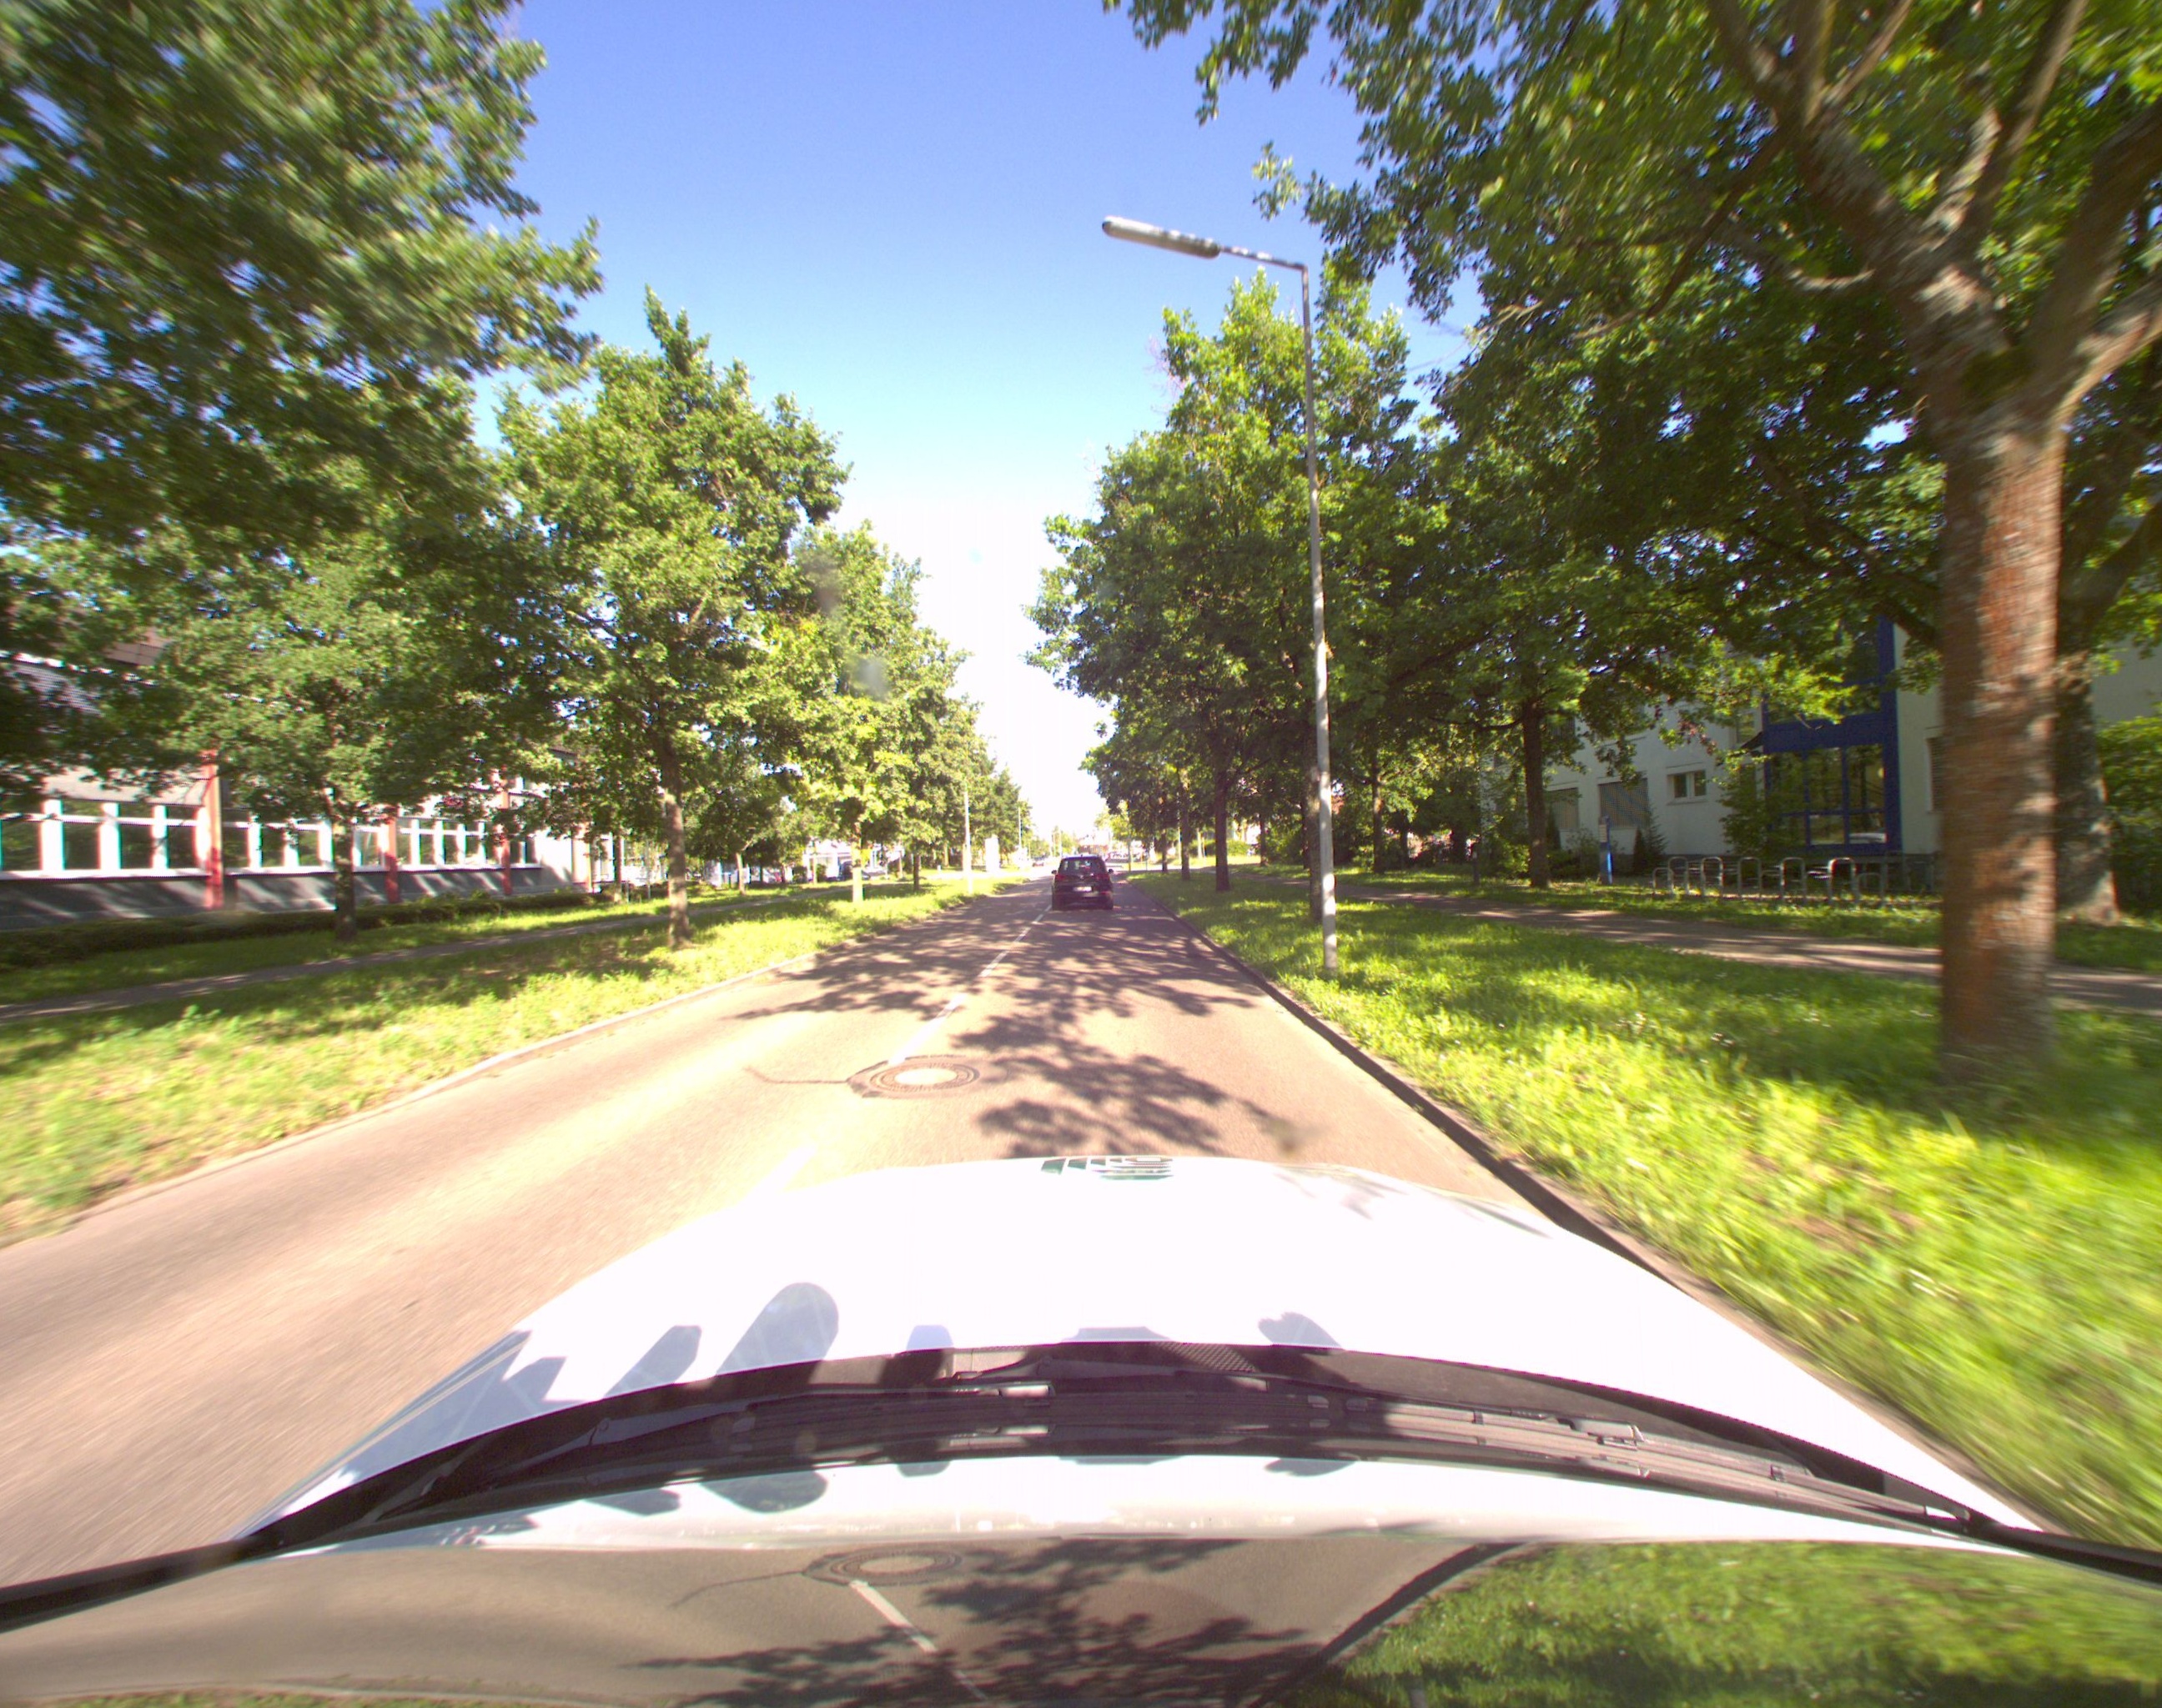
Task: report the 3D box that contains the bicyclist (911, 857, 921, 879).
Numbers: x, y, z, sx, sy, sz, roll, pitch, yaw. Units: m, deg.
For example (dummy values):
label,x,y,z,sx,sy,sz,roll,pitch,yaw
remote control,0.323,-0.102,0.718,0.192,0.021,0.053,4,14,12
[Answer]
label,x,y,z,sx,sy,sz,roll,pitch,yaw
bicyclist,-14.011,1.216,69.198,0.684,1.831,0.934,-1,0,1

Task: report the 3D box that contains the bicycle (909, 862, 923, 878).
label,x,y,z,sx,sy,sz,roll,pitch,yaw
bicycle,-13.974,1.328,69.057,0.714,1.321,1.992,-1,0,1

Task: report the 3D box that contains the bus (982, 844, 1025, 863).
label,x,y,z,sx,sy,sz,roll,pitch,yaw
bus,-16.734,-0.124,175.214,9.098,3.778,3.378,-1,0,-8

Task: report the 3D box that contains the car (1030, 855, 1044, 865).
label,x,y,z,sx,sy,sz,roll,pitch,yaw
car,-6.960,0.985,129.227,1.987,1.455,4.001,-2,0,1

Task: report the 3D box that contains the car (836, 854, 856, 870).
label,x,y,z,sx,sy,sz,roll,pitch,yaw
car,-35.867,1.228,124.339,1.990,2.236,3.994,-2,0,-5

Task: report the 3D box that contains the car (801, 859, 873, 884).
label,x,y,z,sx,sy,sz,roll,pitch,yaw
car,-21.364,1.516,71.412,5.788,2.013,1.994,-1,0,-9

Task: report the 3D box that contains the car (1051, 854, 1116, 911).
label,x,y,z,sx,sy,sz,roll,pitch,yaw
car,0.163,0.833,25.639,1.774,1.633,4.004,-1,0,4

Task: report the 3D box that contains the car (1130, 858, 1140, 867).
label,x,y,z,sx,sy,sz,roll,pitch,yaw
car,8.788,1.393,133.077,1.446,1.406,2.857,-1,0,2

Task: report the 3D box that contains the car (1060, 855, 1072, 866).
label,x,y,z,sx,sy,sz,roll,pitch,yaw
car,-2.784,1.270,152.033,1.990,2.013,3.994,-1,0,-4

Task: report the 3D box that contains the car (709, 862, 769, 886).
label,x,y,z,sx,sy,sz,roll,pitch,yaw
car,-24.322,1.425,57.943,3.341,1.642,2.004,-1,0,6

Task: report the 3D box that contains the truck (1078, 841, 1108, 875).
label,x,y,z,sx,sy,sz,roll,pitch,yaw
truck,1.323,0.347,84.331,2.501,3.243,8.160,-2,0,3
